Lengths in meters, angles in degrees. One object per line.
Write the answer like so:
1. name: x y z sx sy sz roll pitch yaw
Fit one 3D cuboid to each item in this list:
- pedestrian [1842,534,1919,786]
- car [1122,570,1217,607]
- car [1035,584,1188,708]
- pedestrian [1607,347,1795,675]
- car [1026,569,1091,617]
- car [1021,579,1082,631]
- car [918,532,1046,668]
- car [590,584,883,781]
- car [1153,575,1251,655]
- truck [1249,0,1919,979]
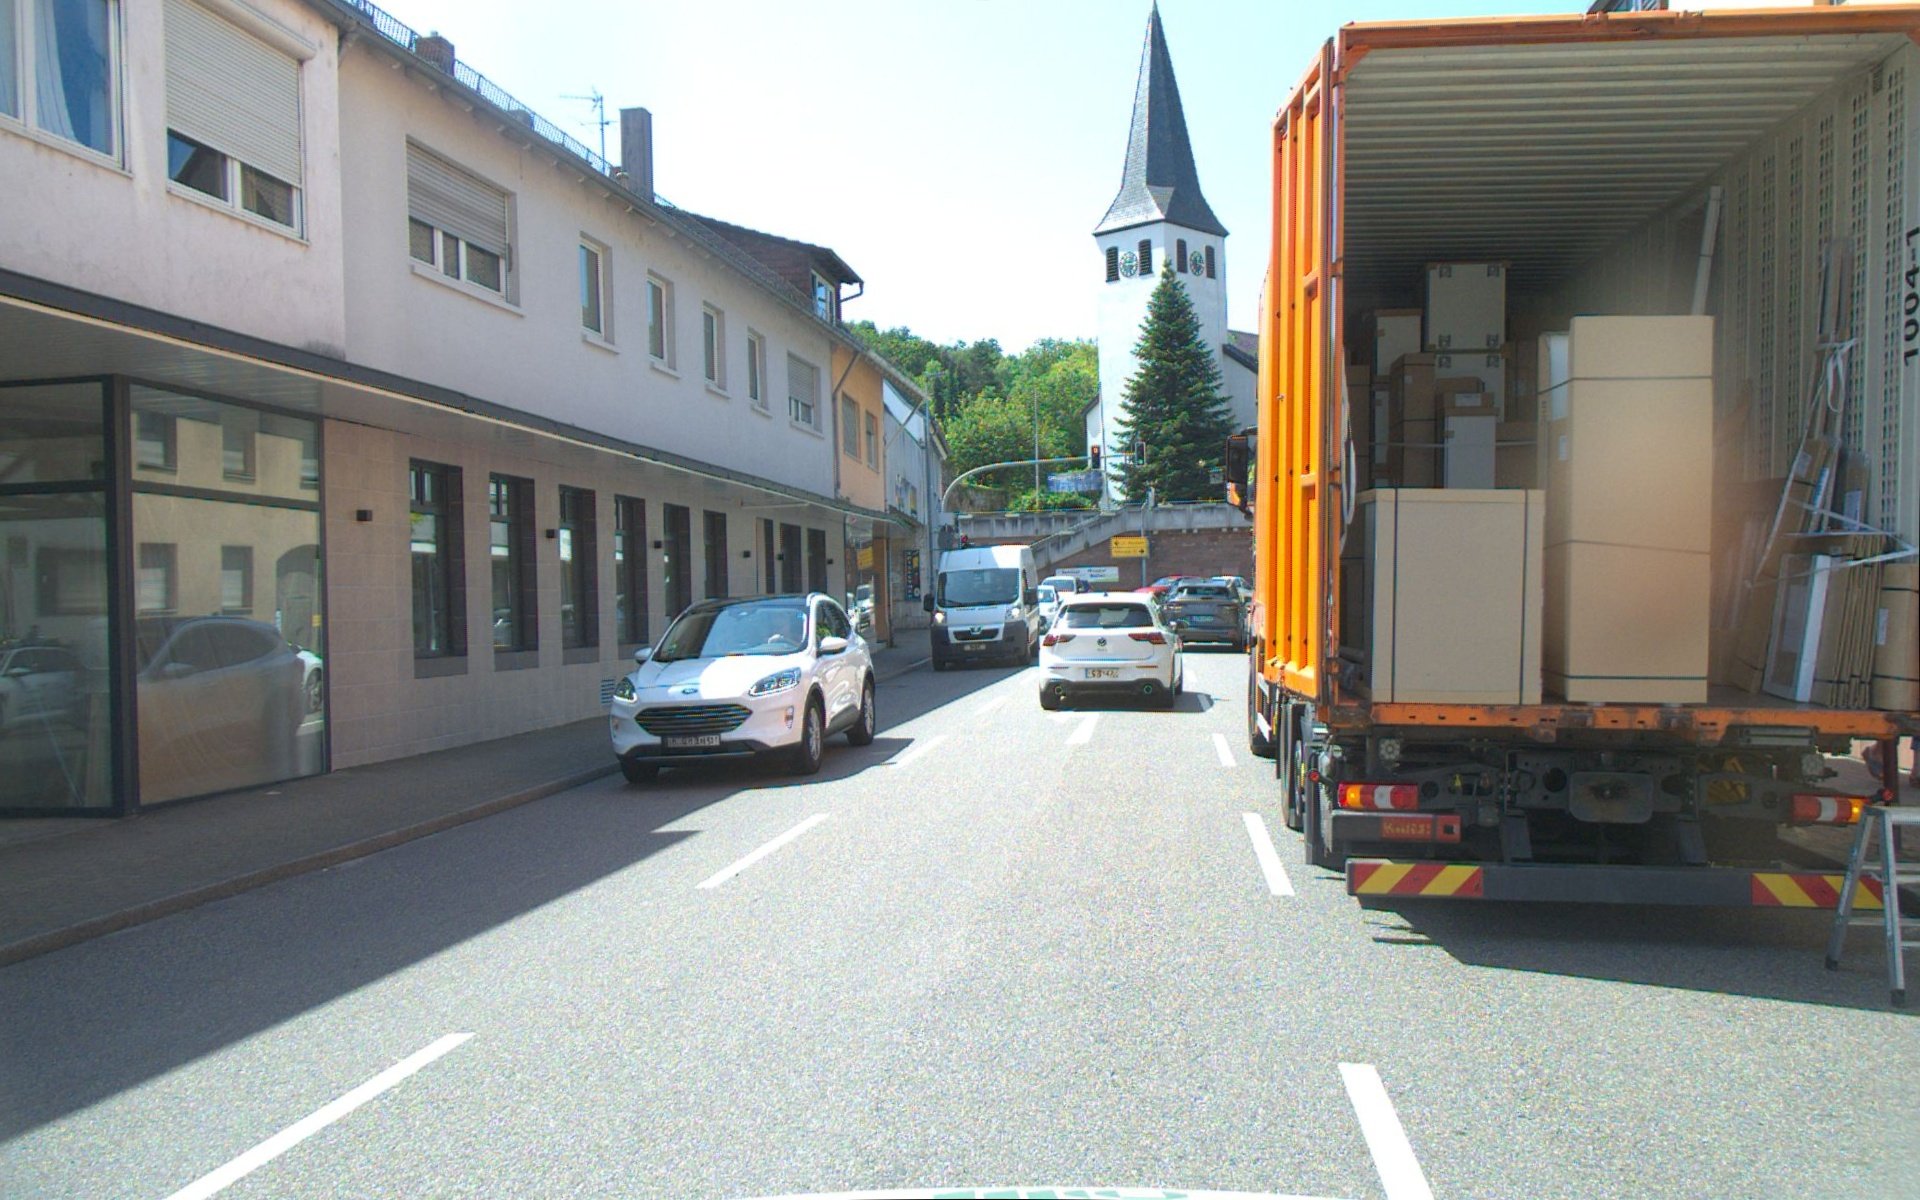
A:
1. pedestrian: 6.545 0.406 11.365 0.674 1.682 0.651 1 -1 9
2. car: 9.966 -0.547 78.672 4.223 1.433 1.707 -5 1 -28
3. car: 2.120 0.554 22.285 1.744 1.483 3.866 -1 0 9
4. pedestrian: 4.234 -0.486 9.512 0.733 1.787 0.928 1 -1 7
5. car: 3.871 -0.301 64.474 1.644 1.645 3.824 -4 1 16
6. car: 2.911 0.151 52.042 1.563 1.480 3.450 -4 0 8
7. car: 0.585 -0.019 35.911 2.095 2.613 5.398 -3 0 7
8. car: -2.030 0.731 16.284 1.780 1.582 4.201 -4 -1 7
9. car: 5.596 0.306 38.674 1.908 1.609 4.329 -1 2 4
10. truck: 3.518 -0.591 11.859 2.553 4.014 10.002 1 1 8
